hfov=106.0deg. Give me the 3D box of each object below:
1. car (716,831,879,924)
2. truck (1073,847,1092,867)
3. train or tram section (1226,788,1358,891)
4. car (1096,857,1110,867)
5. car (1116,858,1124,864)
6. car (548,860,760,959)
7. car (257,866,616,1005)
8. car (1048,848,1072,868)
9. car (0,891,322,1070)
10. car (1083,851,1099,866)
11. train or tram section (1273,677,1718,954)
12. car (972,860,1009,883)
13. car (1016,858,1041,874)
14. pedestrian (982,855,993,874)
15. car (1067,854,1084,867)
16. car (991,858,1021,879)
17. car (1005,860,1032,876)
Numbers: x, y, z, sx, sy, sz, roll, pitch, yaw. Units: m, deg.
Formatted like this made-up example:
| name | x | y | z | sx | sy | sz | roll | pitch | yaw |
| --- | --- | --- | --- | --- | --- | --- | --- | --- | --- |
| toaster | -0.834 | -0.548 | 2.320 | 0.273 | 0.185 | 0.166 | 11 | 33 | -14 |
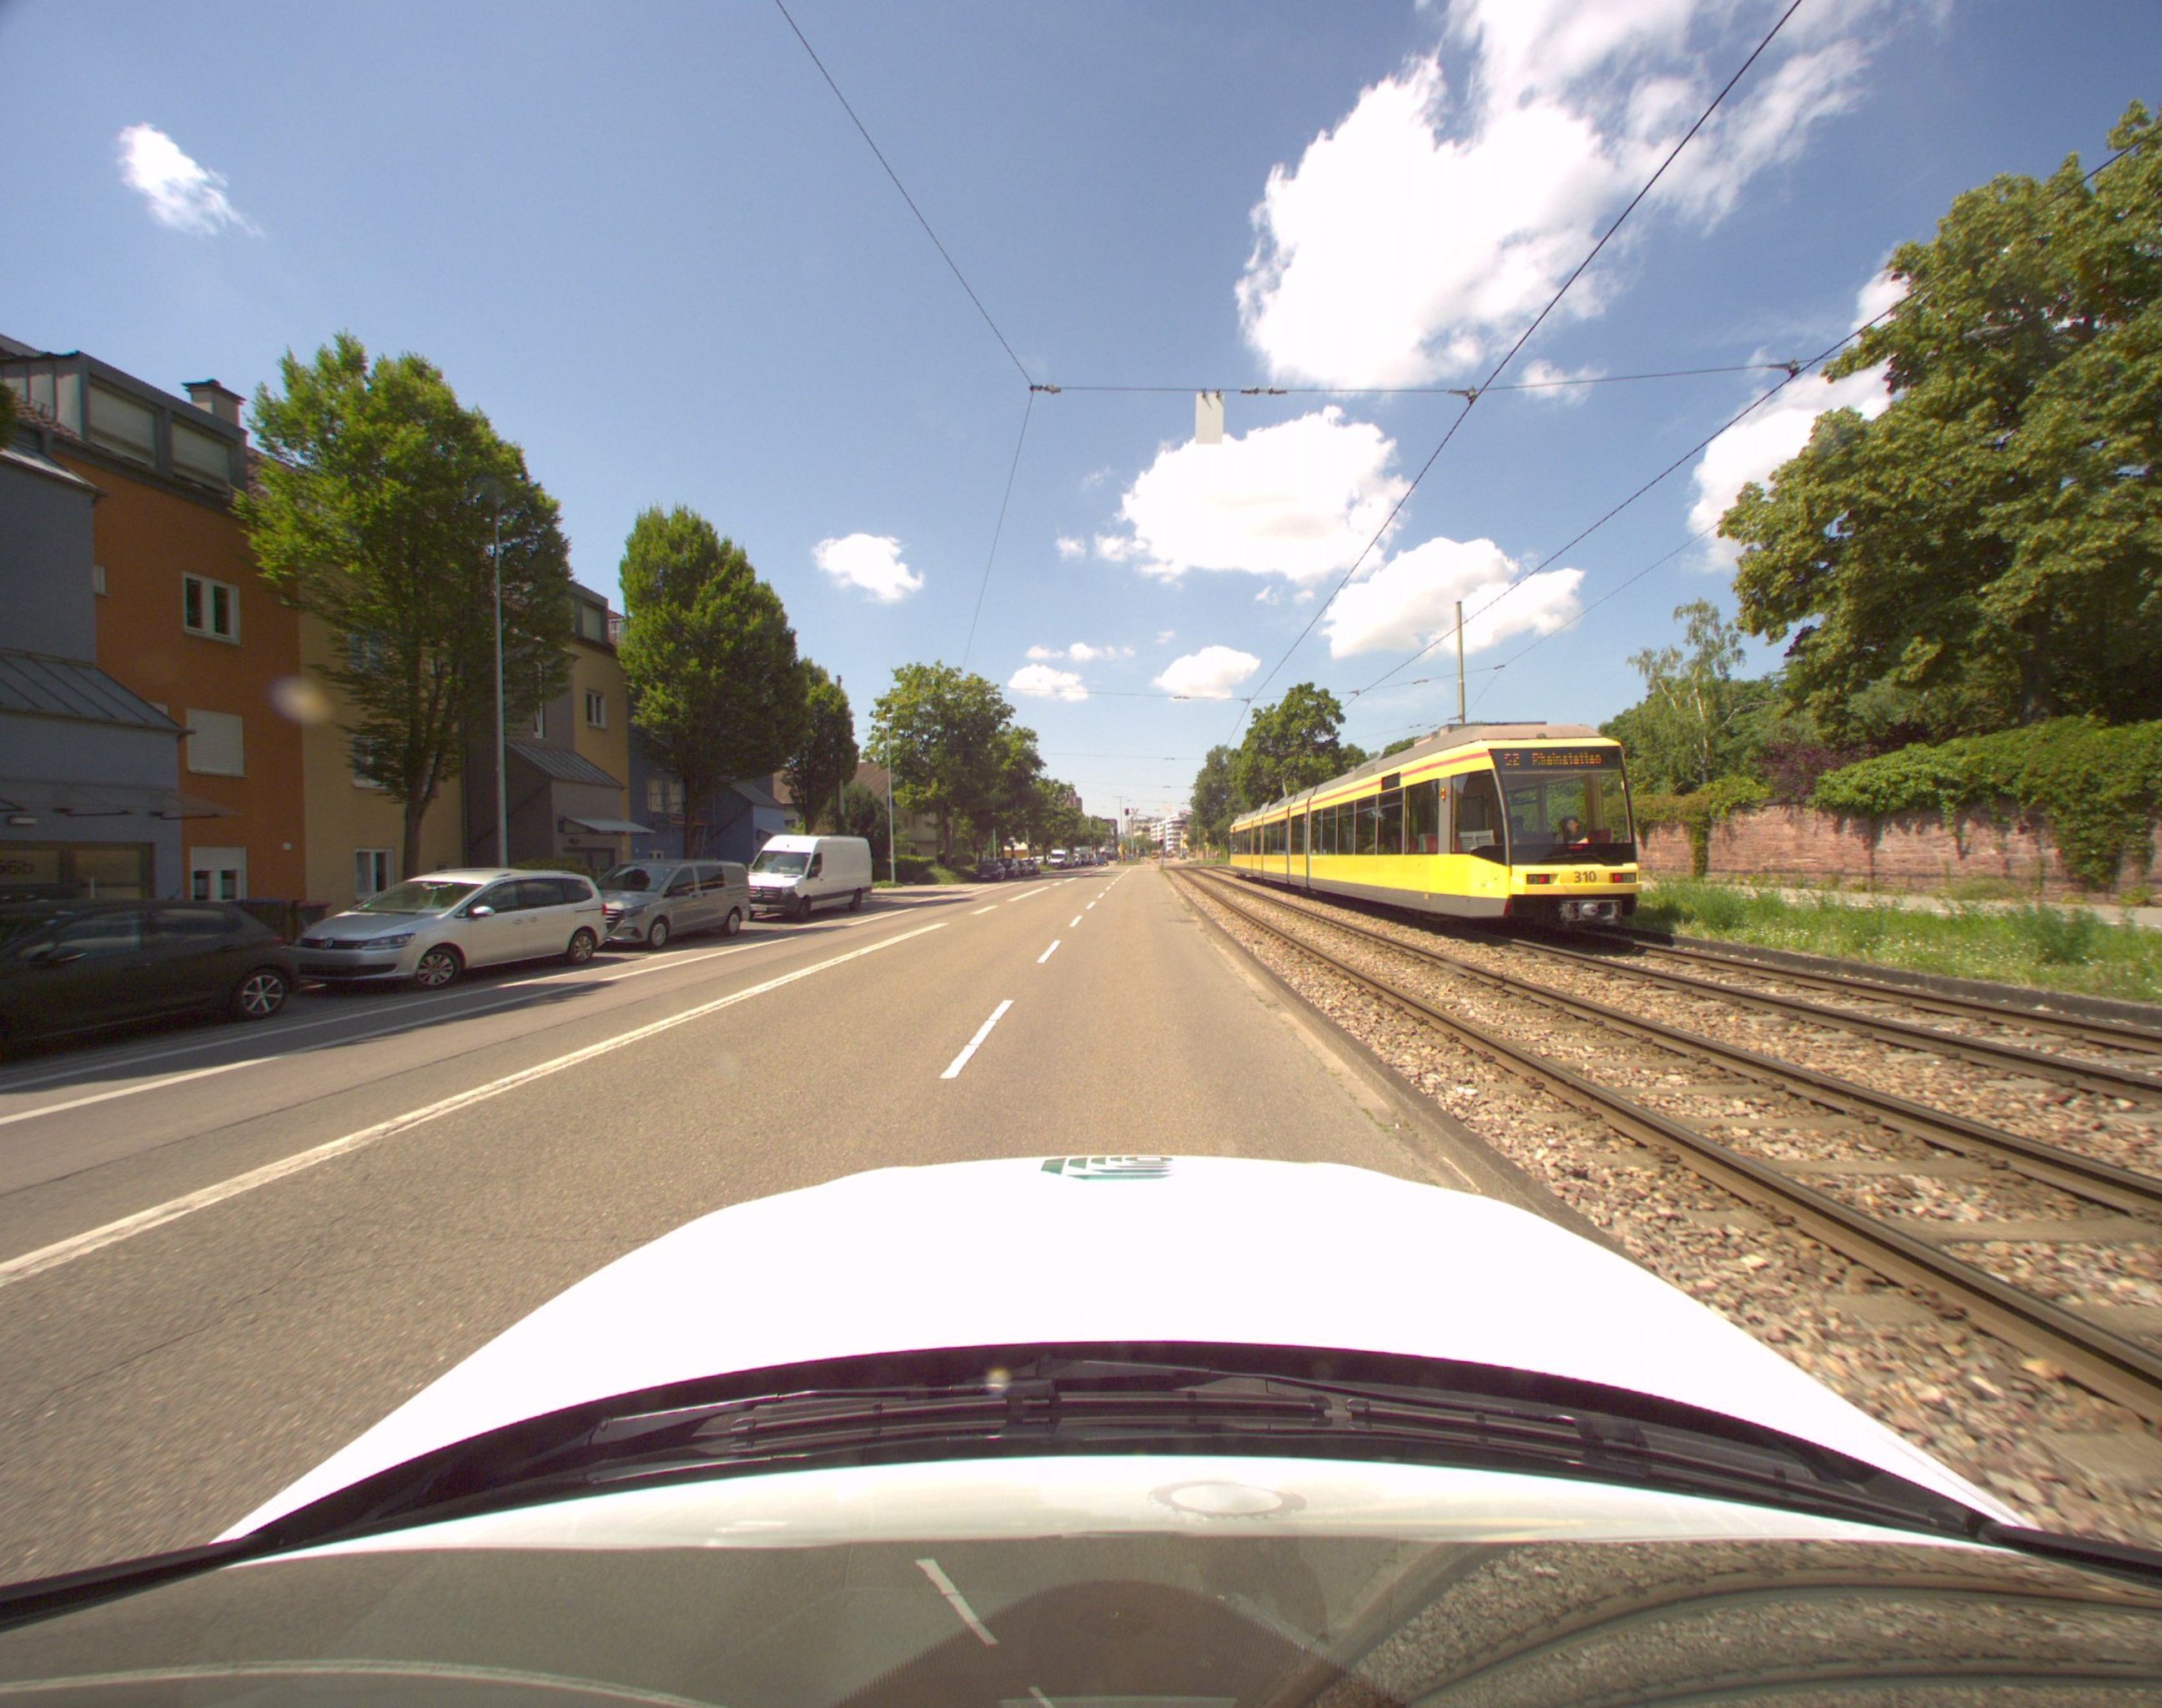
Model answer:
| name | x | y | z | sx | sy | sz | roll | pitch | yaw |
| --- | --- | --- | --- | --- | --- | --- | --- | --- | --- |
| car | -9.221 | 0.675 | 27.450 | 2.312 | 2.651 | 7.046 | 2 | 0 | 6 |
| truck | 0.354 | 0.445 | 133.579 | 2.145 | 3.210 | 7.096 | 1 | 0 | 7 |
| train or tram section | 9.389 | -0.519 | 39.477 | 2.929 | 3.692 | 20.313 | -1 | 0 | 5 |
| car | 3.249 | 1.152 | 118.676 | 1.767 | 1.460 | 4.199 | -3 | 0 | 3 |
| car | 9.149 | 1.649 | 191.169 | 1.671 | 1.398 | 4.008 | -4 | 0 | 3 |
| car | -9.697 | 1.138 | 19.145 | 1.798 | 1.895 | 5.368 | -2 | 0 | 4 |
| car | -10.047 | 1.133 | 13.356 | 1.709 | 1.752 | 4.909 | -2 | 0 | 4 |
| car | -2.666 | 0.476 | 105.542 | 2.145 | 2.487 | 6.205 | 1 | 0 | 7 |
| car | -10.539 | 1.242 | 8.331 | 1.592 | 1.471 | 4.089 | -2 | 0 | 2 |
| car | 1.856 | 0.786 | 148.817 | 2.145 | 2.639 | 5.623 | 1 | 0 | 7 |
| train or tram section | 7.739 | -0.509 | 20.179 | 2.930 | 3.692 | 18.410 | -1 | 0 | 4 |
| car | -6.377 | 1.215 | 57.942 | 1.767 | 1.456 | 4.808 | -2 | 0 | 3 |
| car | -4.844 | 1.086 | 75.783 | 1.766 | 1.481 | 4.053 | 0 | 0 | 5 |
| pedestrian | -9.547 | 1.082 | 83.070 | 0.970 | 1.823 | 0.795 | -2 | -1 | 2 |
| car | -0.790 | 1.043 | 125.204 | 2.051 | 1.898 | 4.878 | -2 | 0 | 6 |
| car | -5.986 | 1.142 | 65.491 | 1.767 | 1.604 | 4.641 | -1 | 0 | 3 |
| car | -5.410 | 1.199 | 71.104 | 1.767 | 1.373 | 4.701 | 0 | 0 | 3 |
